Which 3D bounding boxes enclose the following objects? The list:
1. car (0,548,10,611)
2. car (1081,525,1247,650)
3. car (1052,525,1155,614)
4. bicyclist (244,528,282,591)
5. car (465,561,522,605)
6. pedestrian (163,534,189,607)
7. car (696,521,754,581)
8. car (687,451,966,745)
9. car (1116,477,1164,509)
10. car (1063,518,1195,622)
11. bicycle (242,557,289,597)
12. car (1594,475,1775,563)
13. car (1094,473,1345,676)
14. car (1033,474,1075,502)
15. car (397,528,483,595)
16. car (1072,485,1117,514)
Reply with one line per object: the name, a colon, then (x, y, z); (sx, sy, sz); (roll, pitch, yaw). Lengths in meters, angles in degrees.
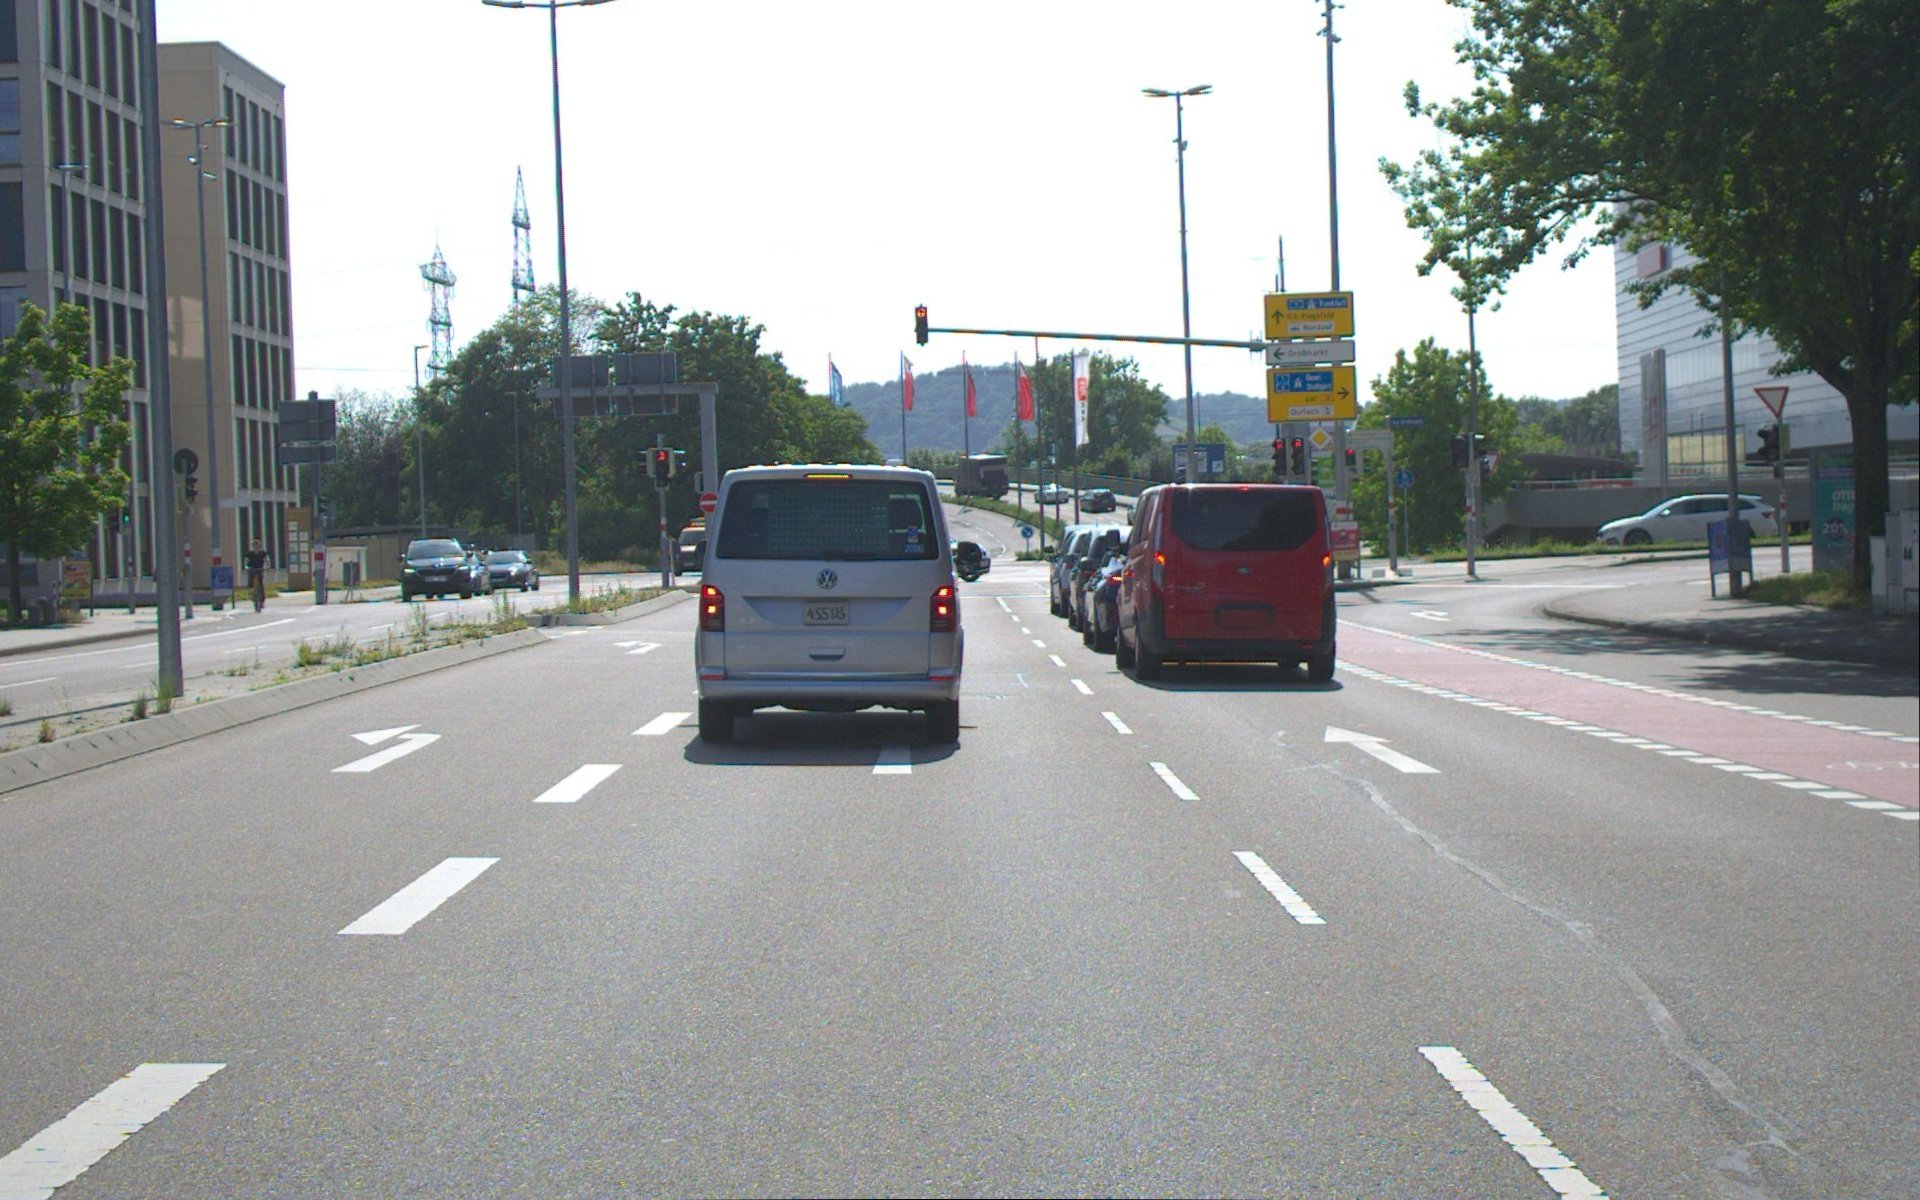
car: (-22.925, -0.281, 75.398); (3.594, 1.353, 1.640); (-5, 2, 1)
car: (2.499, -0.193, 42.984); (1.746, 1.453, 4.476); (0, 1, -1)
car: (2.452, -0.554, 59.420); (1.578, 1.453, 3.786); (0, 1, -1)
bicyclist: (-17.113, -0.996, 84.412); (0.618, 1.521, 1.036); (-3, 1, 1)
car: (-16.520, -0.611, 121.760); (1.576, 1.404, 4.380); (-2, 1, -3)
pedestrian: (-21.580, -0.814, 94.633); (0.558, 2.007, 0.576); (0, 1, 3)
car: (-10.668, -2.240, 155.485); (2.405, 2.552, 6.897); (-2, 1, -5)
car: (-0.923, -0.063, 25.378); (1.884, 1.983, 4.000); (0, 1, 0)
car: (11.802, -7.019, 225.740); (1.993, 2.007, 4.001); (-1, 1, -15)
car: (2.538, -0.485, 52.348); (1.746, 1.511, 4.078); (0, 1, -1)
bicycle: (-17.105, -0.573, 84.696); (0.680, 0.937, 1.973); (-3, 1, 1)
car: (19.209, -2.160, 91.274); (4.402, 1.987, 1.481); (-4, 1, 5)
car: (2.633, -0.314, 36.100); (1.967, 1.961, 5.126); (-1, 1, -3)
car: (6.922, -8.255, 254.432); (1.993, 2.007, 4.001); (-1, 1, -15)
car: (-13.846, -1.050, 91.739); (1.738, 1.613, 4.210); (-4, 1, -3)
car: (9.456, -7.038, 242.168); (1.993, 2.007, 4.001); (-1, 1, -15)
